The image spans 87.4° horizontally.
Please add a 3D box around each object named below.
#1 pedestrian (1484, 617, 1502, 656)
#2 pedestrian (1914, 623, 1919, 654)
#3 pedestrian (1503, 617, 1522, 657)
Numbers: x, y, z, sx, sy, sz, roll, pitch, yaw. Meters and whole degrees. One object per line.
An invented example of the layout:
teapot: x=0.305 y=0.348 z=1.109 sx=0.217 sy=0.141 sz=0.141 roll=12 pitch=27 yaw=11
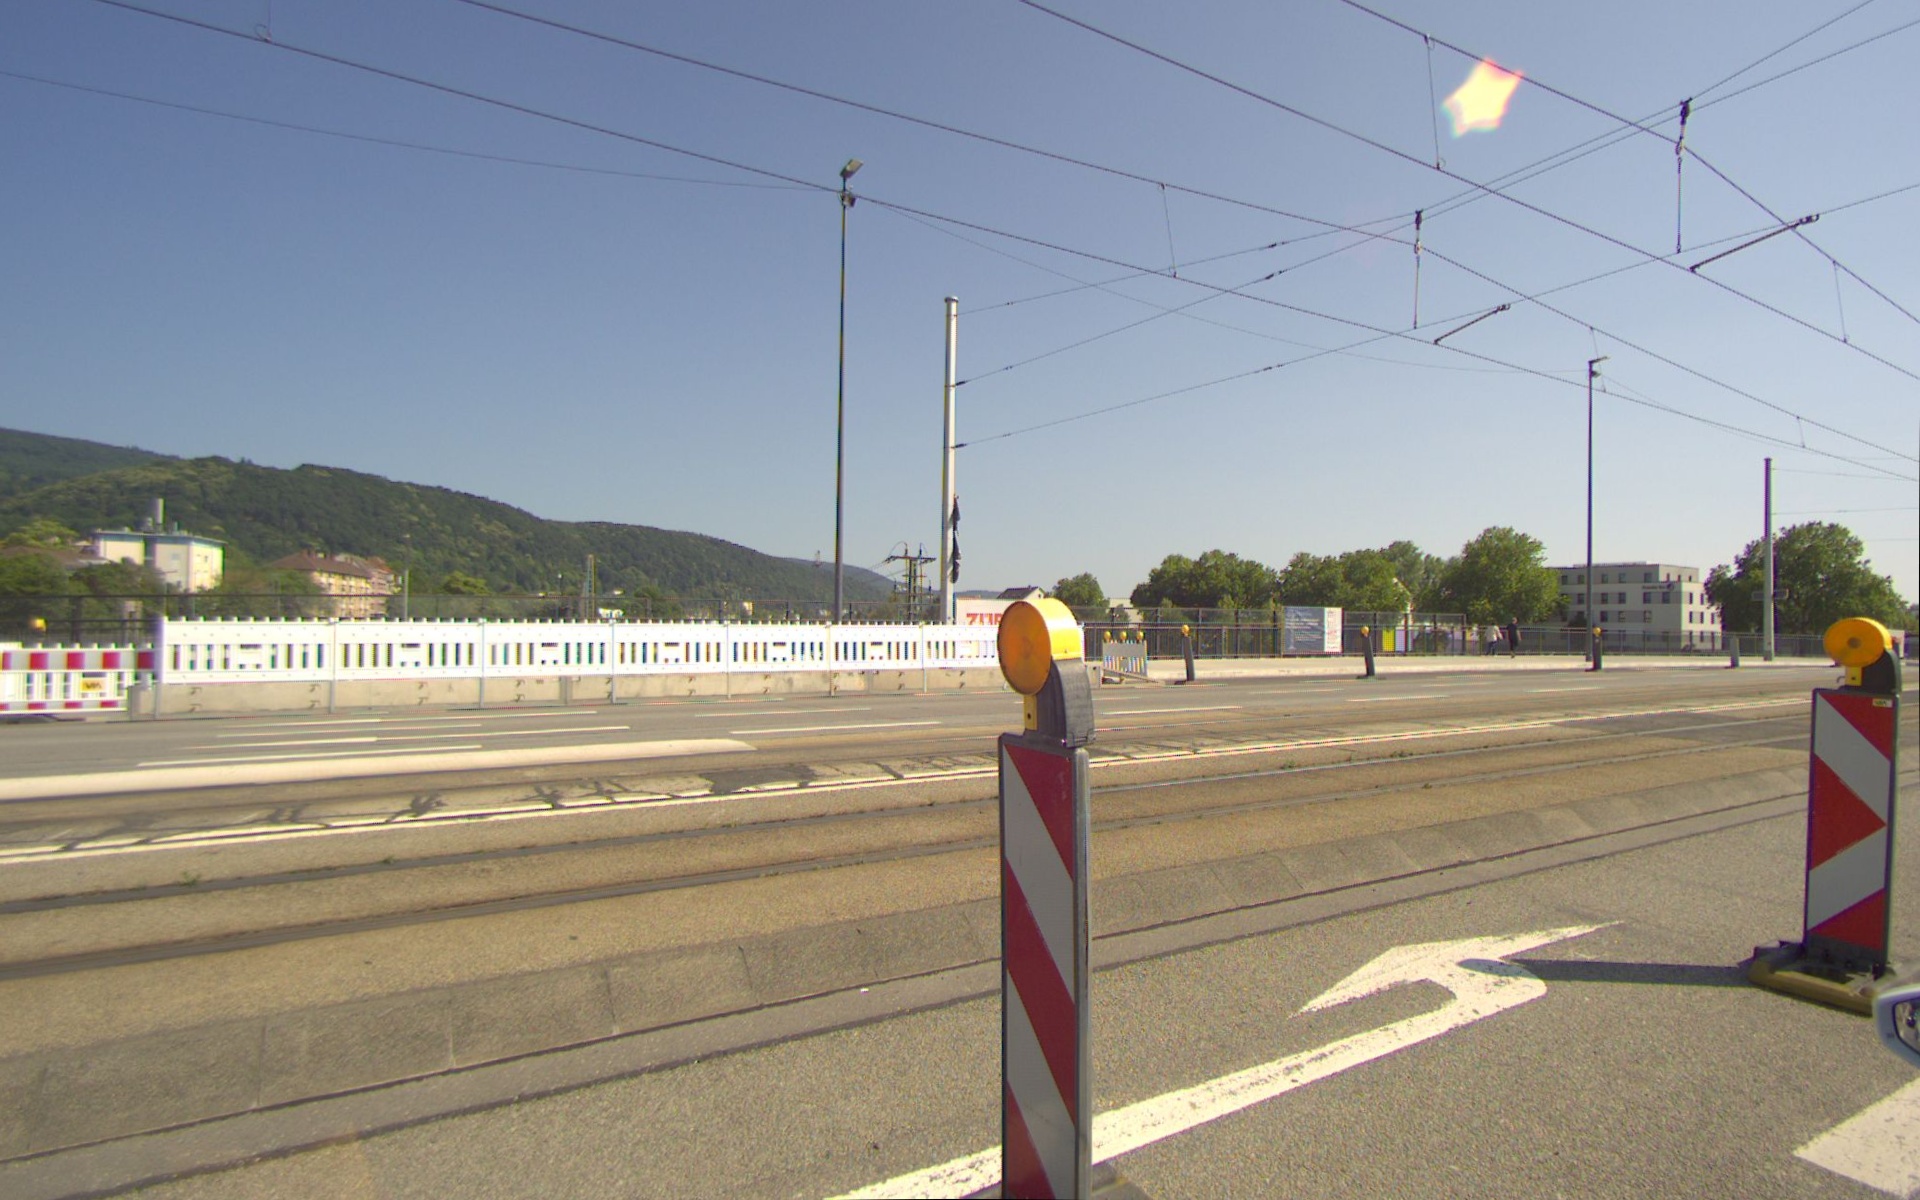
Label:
pedestrian: x=23.539 y=1.616 z=44.371 sx=0.468 sy=1.717 sz=0.493 roll=2 pitch=0 yaw=-30
pedestrian: x=59.332 y=2.391 z=61.879 sx=0.743 sy=1.919 sz=0.631 roll=1 pitch=0 yaw=-30
pedestrian: x=23.874 y=1.588 z=43.406 sx=0.468 sy=1.717 sz=0.493 roll=2 pitch=0 yaw=-30
